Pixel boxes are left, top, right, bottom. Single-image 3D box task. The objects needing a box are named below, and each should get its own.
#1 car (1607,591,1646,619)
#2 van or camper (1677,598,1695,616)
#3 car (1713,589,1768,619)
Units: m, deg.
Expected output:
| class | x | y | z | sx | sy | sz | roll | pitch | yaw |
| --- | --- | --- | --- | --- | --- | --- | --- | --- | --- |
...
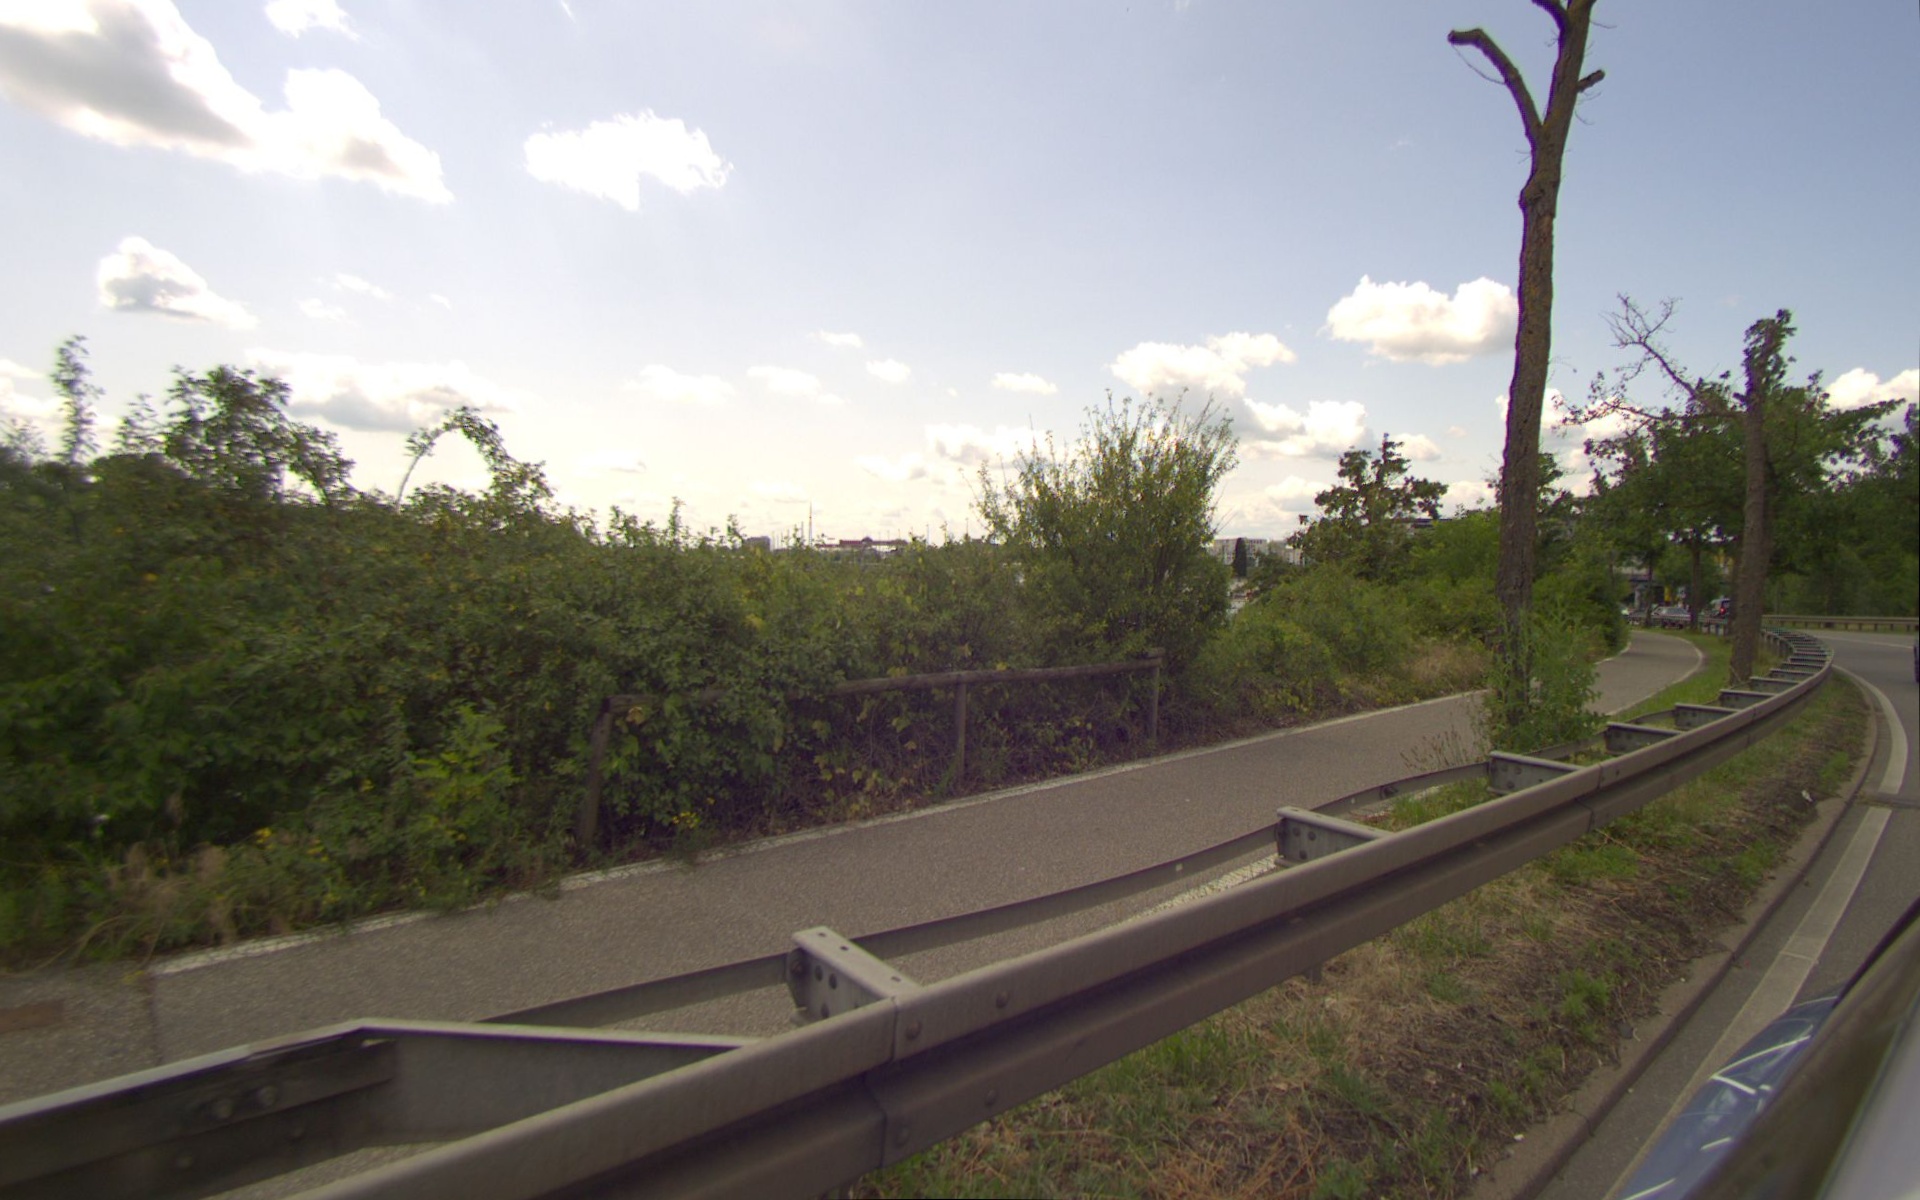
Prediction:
| class | x | y | z | sx | sy | sz | roll | pitch | yaw |
| --- | --- | --- | --- | --- | --- | --- | --- | --- | --- |
| car | 51.619 | 0.382 | 78.401 | 1.981 | 2.039 | 3.963 | 2 | 1 | 26 |
| van or camper | 117.194 | 1.138 | 163.282 | 1.991 | 2.612 | 5.900 | 8 | 3 | 37 |
| car | 48.142 | 0.214 | 62.474 | 1.840 | 1.731 | 4.273 | 0 | 1 | 26 |
